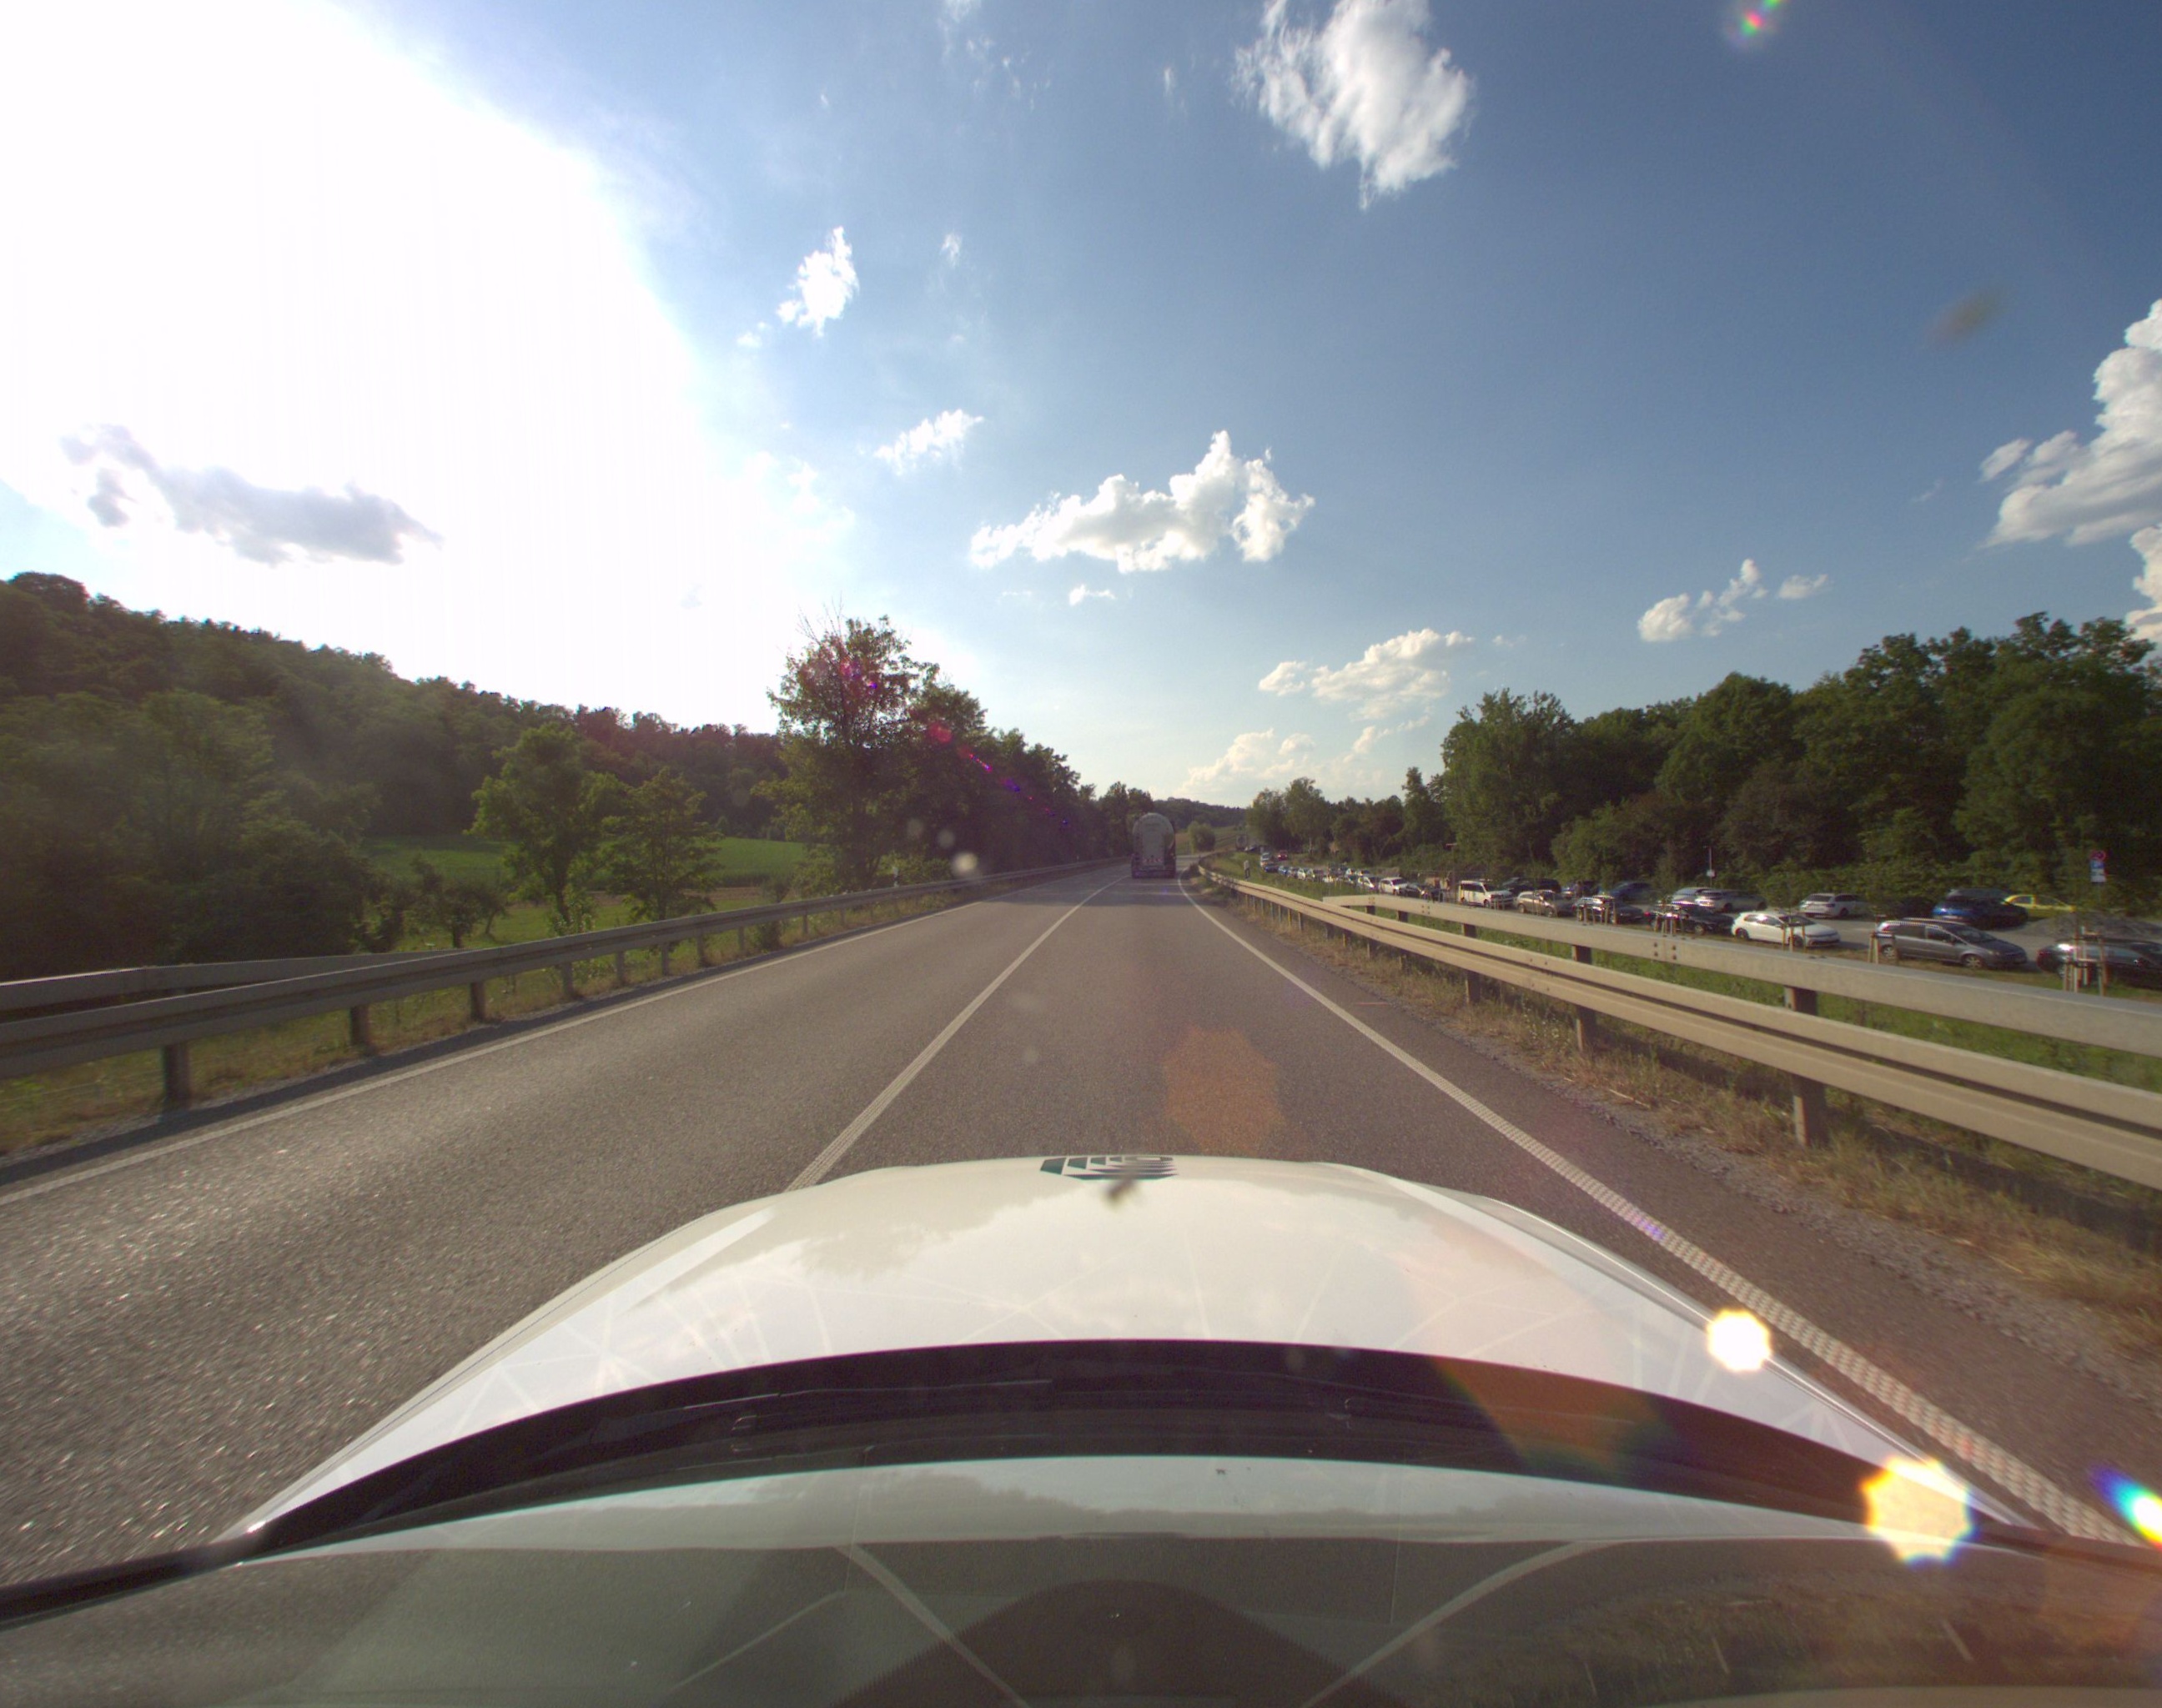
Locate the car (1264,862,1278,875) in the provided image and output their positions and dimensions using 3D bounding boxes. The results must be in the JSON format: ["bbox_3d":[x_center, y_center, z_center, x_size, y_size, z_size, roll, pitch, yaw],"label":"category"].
[{"bbox_3d":[29.957,2.270,128.692,1.880,1.559,4.798,-5,1,11],"label":"car"}]

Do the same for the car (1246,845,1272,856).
[{"bbox_3d":[36.772,-0.789,168.463,5.103,1.943,1.983,4,2,14],"label":"car"}]

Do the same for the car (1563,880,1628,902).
[{"bbox_3d":[40.888,2.931,64.775,4.231,1.604,1.828,-1,0,-9],"label":"car"}]

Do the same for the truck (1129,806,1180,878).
[{"bbox_3d":[4.842,-0.700,53.841,2.879,4.142,13.190,-1,0,5],"label":"truck"}]

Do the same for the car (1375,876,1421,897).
[{"bbox_3d":[29.704,3.004,76.466,1.891,1.559,4.770,-5,1,-7],"label":"car"}]

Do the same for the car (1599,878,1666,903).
[{"bbox_3d":[41.441,2.719,61.186,4.238,1.742,1.825,-1,1,-13],"label":"car"}]

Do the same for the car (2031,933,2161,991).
[{"bbox_3d":[35.471,3.649,27.381,1.819,1.401,4.240,-4,1,-11],"label":"car"}]

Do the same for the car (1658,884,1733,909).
[{"bbox_3d":[41.592,2.837,55.165,4.238,1.498,1.764,-1,1,-13],"label":"car"}]

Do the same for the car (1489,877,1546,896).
[{"bbox_3d":[39.123,2.877,72.968,4.230,1.489,1.829,-1,0,-8],"label":"car"}]

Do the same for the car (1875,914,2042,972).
[{"bbox_3d":[35.006,3.492,32.664,1.819,1.658,4.240,-4,1,-11],"label":"car"}]

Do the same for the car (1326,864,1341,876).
[{"bbox_3d":[36.898,2.271,119.022,1.686,1.398,4.810,-4,0,21],"label":"car"}]

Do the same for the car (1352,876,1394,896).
[{"bbox_3d":[29.335,3.193,81.936,1.891,1.559,4.770,-5,1,-7],"label":"car"}]

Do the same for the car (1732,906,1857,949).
[{"bbox_3d":[33.989,3.456,38.941,1.819,1.482,4.240,-4,1,-11],"label":"car"}]

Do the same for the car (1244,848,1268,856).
[{"bbox_3d":[35.402,-0.438,164.814,4.314,1.399,1.714,2,2,-12],"label":"car"}]

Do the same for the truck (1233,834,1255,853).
[{"bbox_3d":[38.138,-2.485,189.793,3.157,4.227,13.237,-2,1,19],"label":"truck"}]

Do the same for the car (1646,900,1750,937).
[{"bbox_3d":[33.205,3.408,43.996,1.819,1.482,4.378,-4,1,-11],"label":"car"}]

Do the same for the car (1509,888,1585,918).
[{"bbox_3d":[31.510,3.268,55.258,1.891,1.482,4.770,-5,1,-7],"label":"car"}]

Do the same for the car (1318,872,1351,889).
[{"bbox_3d":[29.214,3.010,93.873,1.889,1.559,4.775,-5,1,-4],"label":"car"}]

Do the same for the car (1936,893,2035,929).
[{"bbox_3d":[46.147,2.902,41.568,4.239,1.456,1.610,-3,1,-14],"label":"car"}]

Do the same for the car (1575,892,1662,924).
[{"bbox_3d":[32.673,3.277,49.679,1.819,1.482,4.378,-4,1,-11],"label":"car"}]

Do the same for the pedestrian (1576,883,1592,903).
[{"bbox_3d":[39.063,3.006,63.257,0.910,1.471,0.894,-3,1,26],"label":"pedestrian"}]

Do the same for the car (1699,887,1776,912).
[{"bbox_3d":[42.103,2.896,52.251,4.239,1.456,1.610,-1,0,-14],"label":"car"}]

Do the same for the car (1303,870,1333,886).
[{"bbox_3d":[29.059,2.925,100.122,1.889,1.559,4.775,-5,1,-4],"label":"car"}]

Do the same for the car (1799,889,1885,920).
[{"bbox_3d":[44.115,2.885,47.194,4.413,1.456,1.724,-2,1,-18],"label":"car"}]

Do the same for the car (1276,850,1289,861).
[{"bbox_3d":[37.833,0.247,152.795,1.880,1.686,5.102,-5,1,11],"label":"car"}]

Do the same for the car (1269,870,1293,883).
[{"bbox_3d":[28.646,3.189,116.948,1.889,1.559,4.775,-5,1,-4],"label":"car"}]

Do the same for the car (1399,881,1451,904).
[{"bbox_3d":[29.761,3.291,70.571,1.891,1.482,4.770,-5,1,-7],"label":"car"}]

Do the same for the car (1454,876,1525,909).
[{"bbox_3d":[30.926,2.878,61.882,2.118,2.017,5.366,-5,1,-7],"label":"car"}]

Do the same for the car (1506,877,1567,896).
[{"bbox_3d":[39.033,2.794,69.905,4.210,1.489,1.838,-1,2,7],"label":"car"}]

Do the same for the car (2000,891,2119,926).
[{"bbox_3d":[50.440,2.771,42.076,1.499,1.456,3.652,-3,1,-19],"label":"car"}]

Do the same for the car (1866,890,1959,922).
[{"bbox_3d":[45.043,2.800,44.132,4.239,1.456,1.610,-2,1,-14],"label":"car"}]
